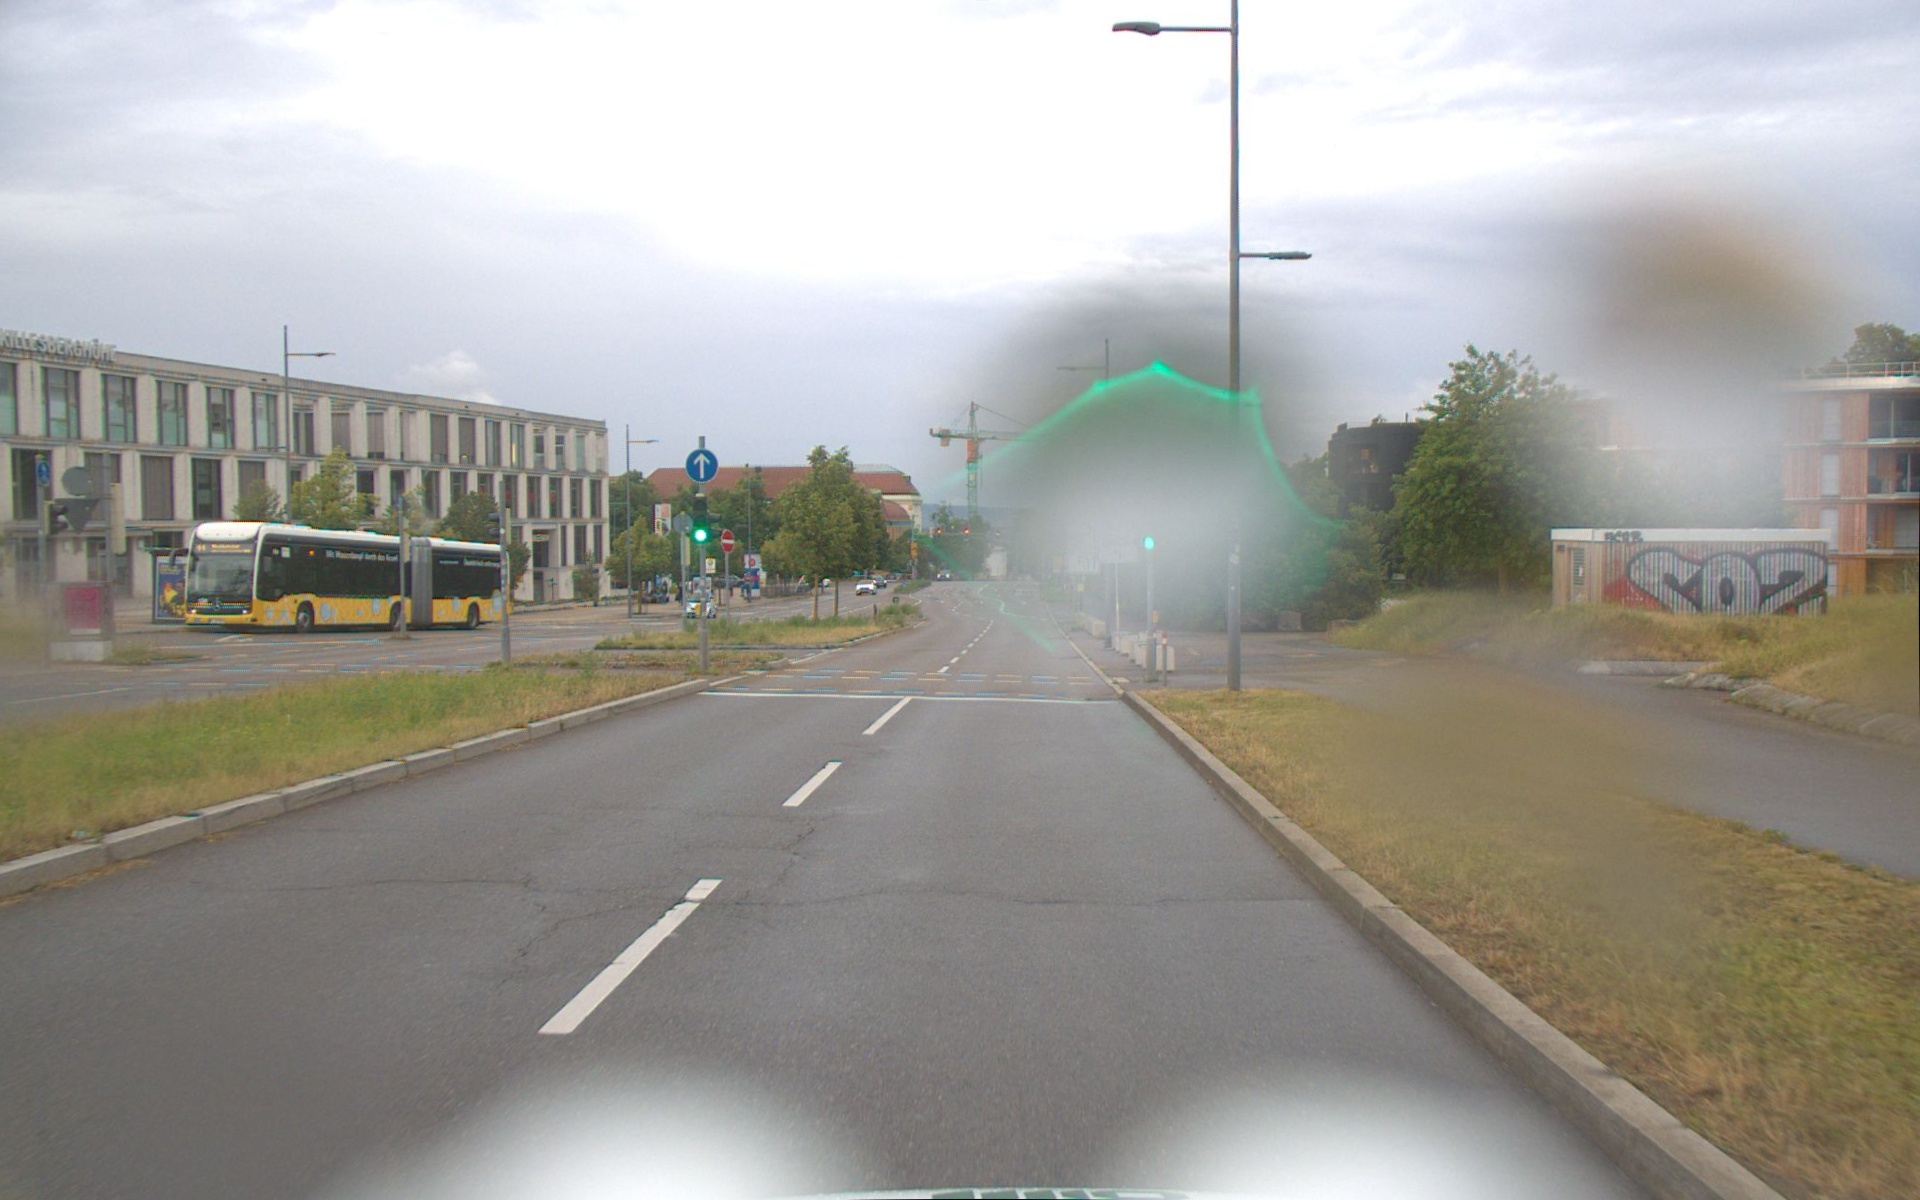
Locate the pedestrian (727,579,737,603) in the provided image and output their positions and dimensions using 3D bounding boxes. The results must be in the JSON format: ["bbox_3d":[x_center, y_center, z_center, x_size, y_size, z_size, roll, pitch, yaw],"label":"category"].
[{"bbox_3d":[-20.019,-0.802,145.056,0.736,2.049,0.834,0,-1,-16],"label":"pedestrian"}]

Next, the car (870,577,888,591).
[{"bbox_3d":[-9.264,-1.852,188.901,1.736,1.520,4.059,0,-1,-9],"label":"car"}]

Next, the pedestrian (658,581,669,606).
[{"bbox_3d":[-22.746,-0.480,126.837,0.736,1.885,0.834,0,-1,-16],"label":"pedestrian"}]

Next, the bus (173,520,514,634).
[{"bbox_3d":[-21.097,-0.528,59.014,2.725,3.416,18.240,-1,-1,9],"label":"bus"}]

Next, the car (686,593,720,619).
[{"bbox_3d":[-15.748,0.378,101.401,1.447,1.520,2.532,0,-1,7],"label":"car"}]

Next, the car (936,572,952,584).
[{"bbox_3d":[-2.296,-3.152,238.089,1.731,1.520,4.070,0,-1,7],"label":"car"}]

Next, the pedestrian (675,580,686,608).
[{"bbox_3d":[-20.083,-0.397,118.835,0.736,1.981,0.834,0,-1,-16],"label":"pedestrian"}]

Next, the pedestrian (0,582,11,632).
[{"bbox_3d":[-29.795,0.219,51.063,0.671,1.551,0.716,0,-1,-16],"label":"pedestrian"}]

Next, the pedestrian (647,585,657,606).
[{"bbox_3d":[-23.656,-0.349,127.038,0.820,1.559,0.749,0,-1,-11],"label":"pedestrian"}]

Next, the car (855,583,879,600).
[{"bbox_3d":[-9.121,-0.798,162.179,1.732,1.520,4.070,0,-1,6],"label":"car"}]
